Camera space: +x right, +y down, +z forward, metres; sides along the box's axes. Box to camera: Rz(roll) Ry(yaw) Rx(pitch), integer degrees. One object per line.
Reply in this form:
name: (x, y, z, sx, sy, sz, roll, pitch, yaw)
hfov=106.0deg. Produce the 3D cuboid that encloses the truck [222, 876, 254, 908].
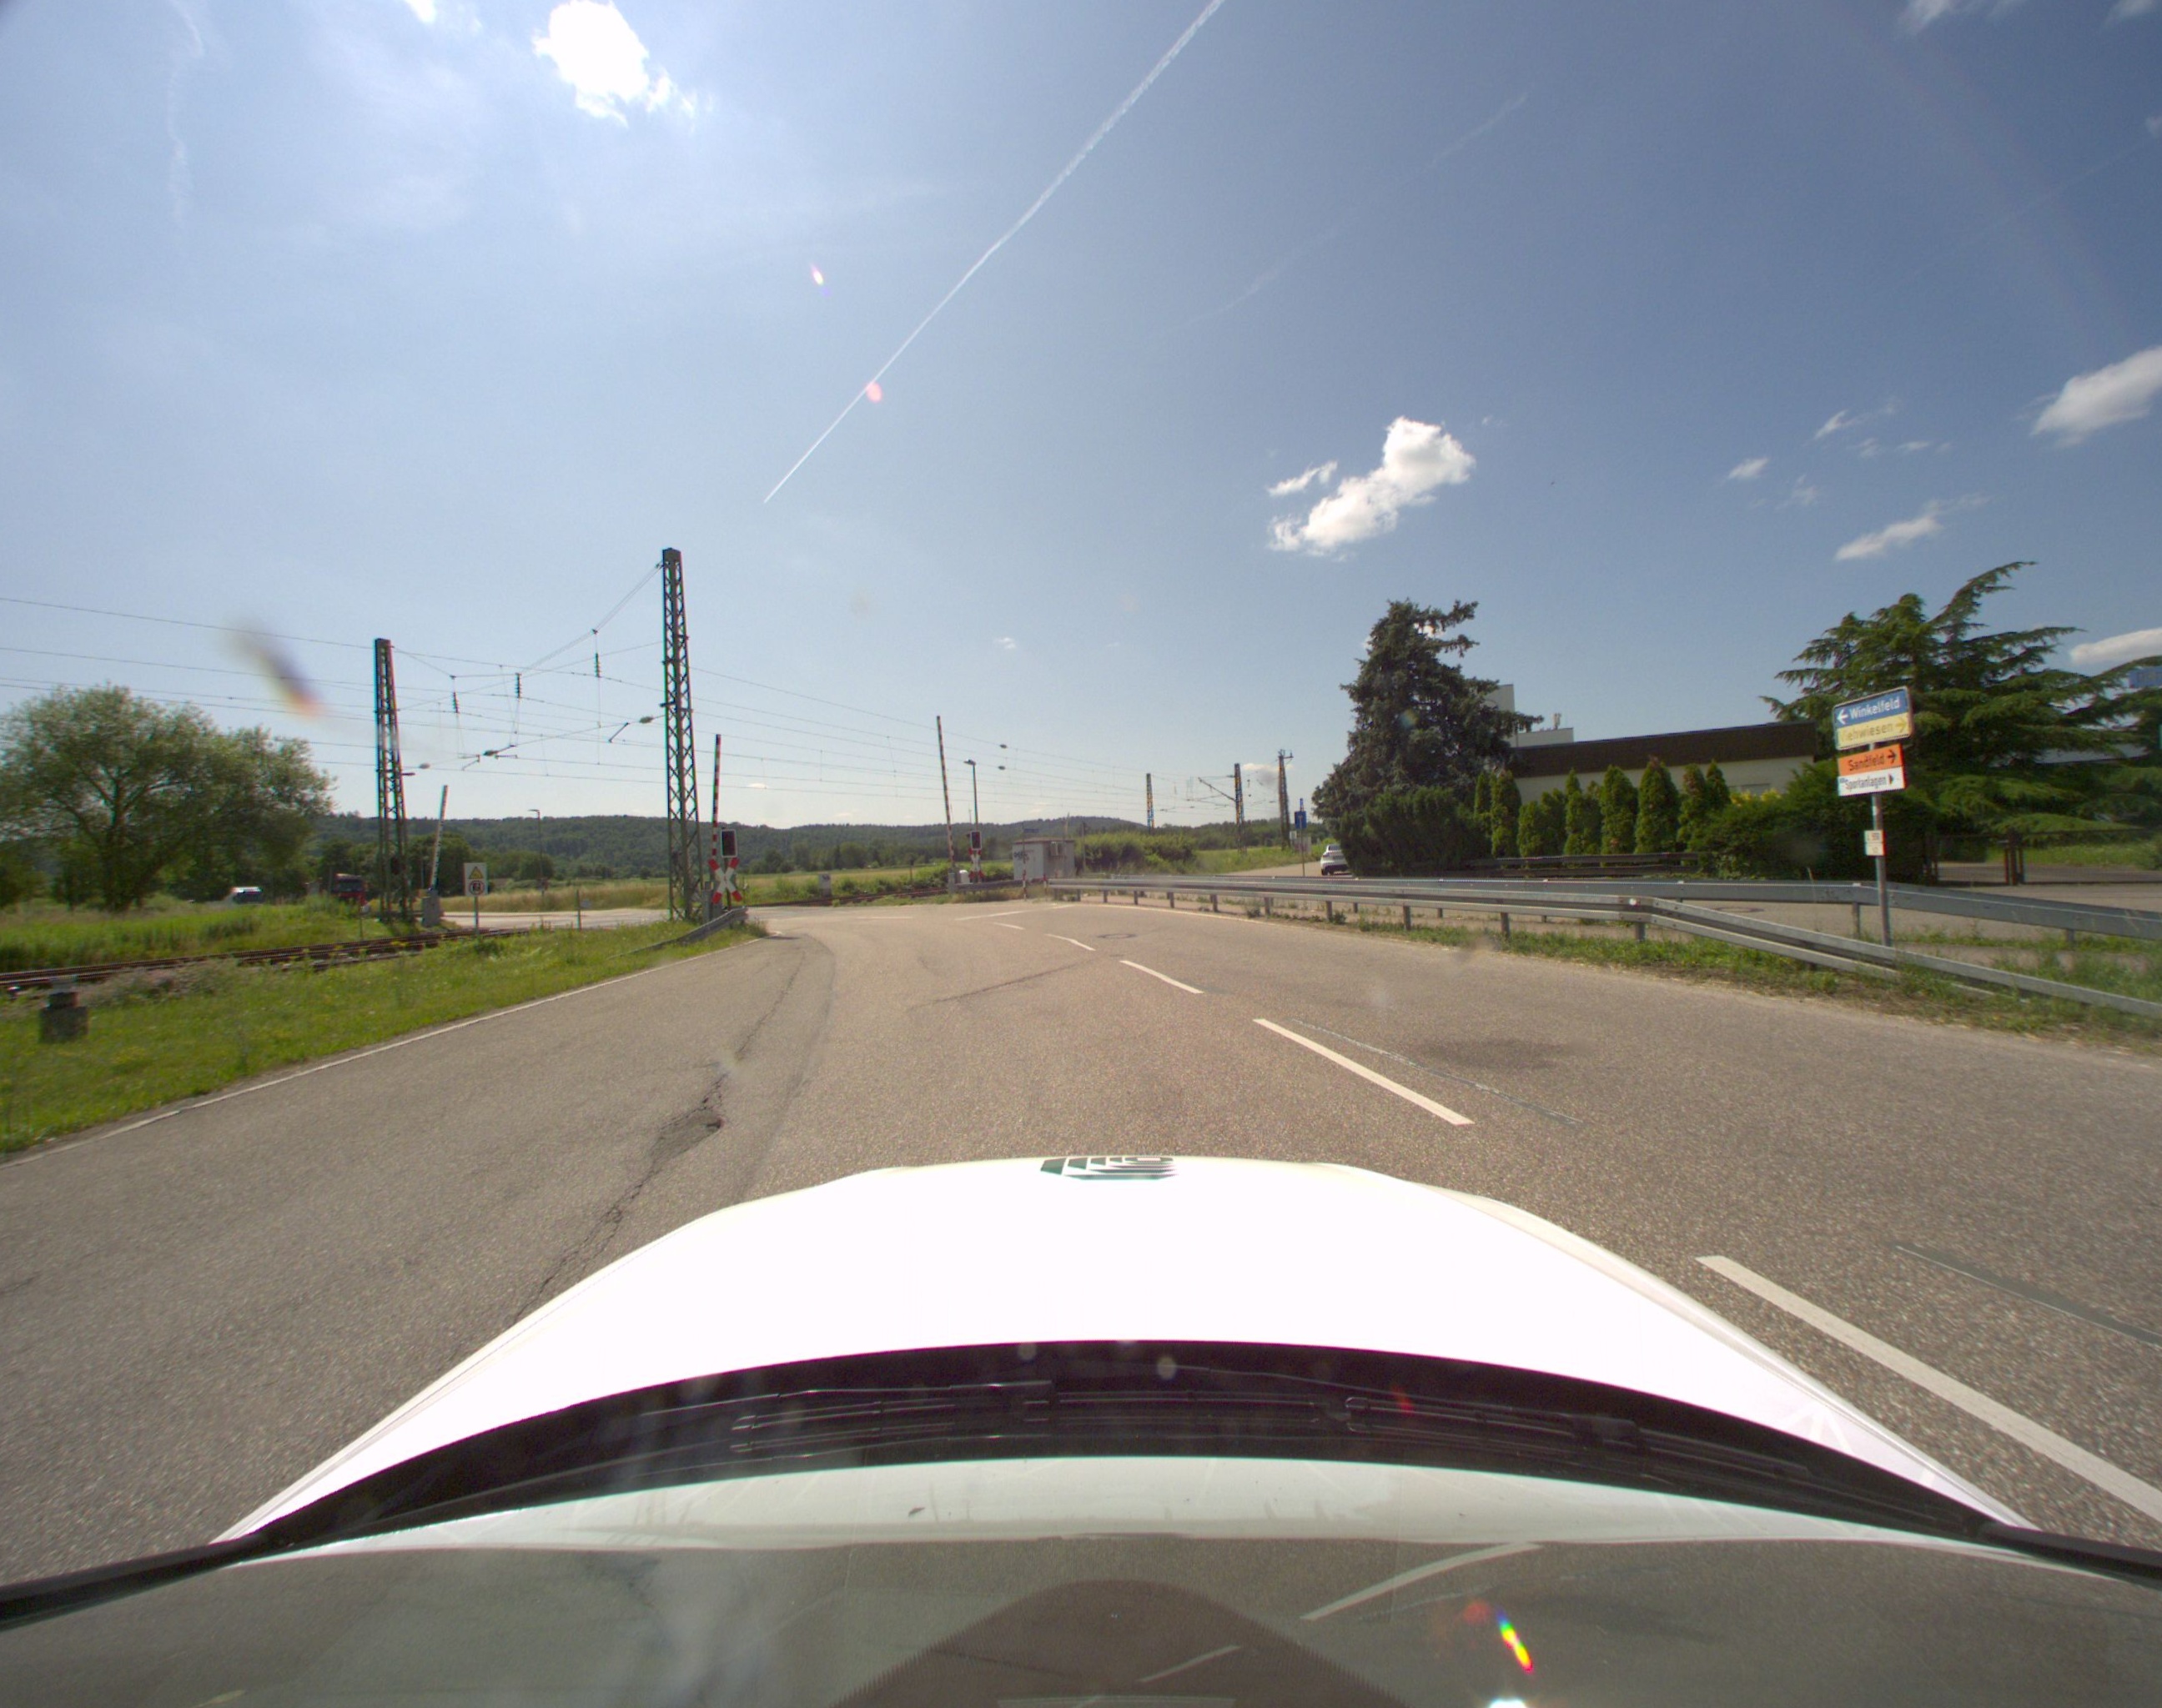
truck: (-109.634, 4.990, 105.873, 5.961, 3.948, 2.595, -3, 0, 42)

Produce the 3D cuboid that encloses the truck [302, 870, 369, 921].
truck: (-61.000, 3.404, 66.490, 11.994, 3.745, 2.899, -4, -1, 43)

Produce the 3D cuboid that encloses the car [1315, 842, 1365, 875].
car: (13.596, 0.207, 42.570, 1.976, 1.510, 4.479, -3, 0, 23)
